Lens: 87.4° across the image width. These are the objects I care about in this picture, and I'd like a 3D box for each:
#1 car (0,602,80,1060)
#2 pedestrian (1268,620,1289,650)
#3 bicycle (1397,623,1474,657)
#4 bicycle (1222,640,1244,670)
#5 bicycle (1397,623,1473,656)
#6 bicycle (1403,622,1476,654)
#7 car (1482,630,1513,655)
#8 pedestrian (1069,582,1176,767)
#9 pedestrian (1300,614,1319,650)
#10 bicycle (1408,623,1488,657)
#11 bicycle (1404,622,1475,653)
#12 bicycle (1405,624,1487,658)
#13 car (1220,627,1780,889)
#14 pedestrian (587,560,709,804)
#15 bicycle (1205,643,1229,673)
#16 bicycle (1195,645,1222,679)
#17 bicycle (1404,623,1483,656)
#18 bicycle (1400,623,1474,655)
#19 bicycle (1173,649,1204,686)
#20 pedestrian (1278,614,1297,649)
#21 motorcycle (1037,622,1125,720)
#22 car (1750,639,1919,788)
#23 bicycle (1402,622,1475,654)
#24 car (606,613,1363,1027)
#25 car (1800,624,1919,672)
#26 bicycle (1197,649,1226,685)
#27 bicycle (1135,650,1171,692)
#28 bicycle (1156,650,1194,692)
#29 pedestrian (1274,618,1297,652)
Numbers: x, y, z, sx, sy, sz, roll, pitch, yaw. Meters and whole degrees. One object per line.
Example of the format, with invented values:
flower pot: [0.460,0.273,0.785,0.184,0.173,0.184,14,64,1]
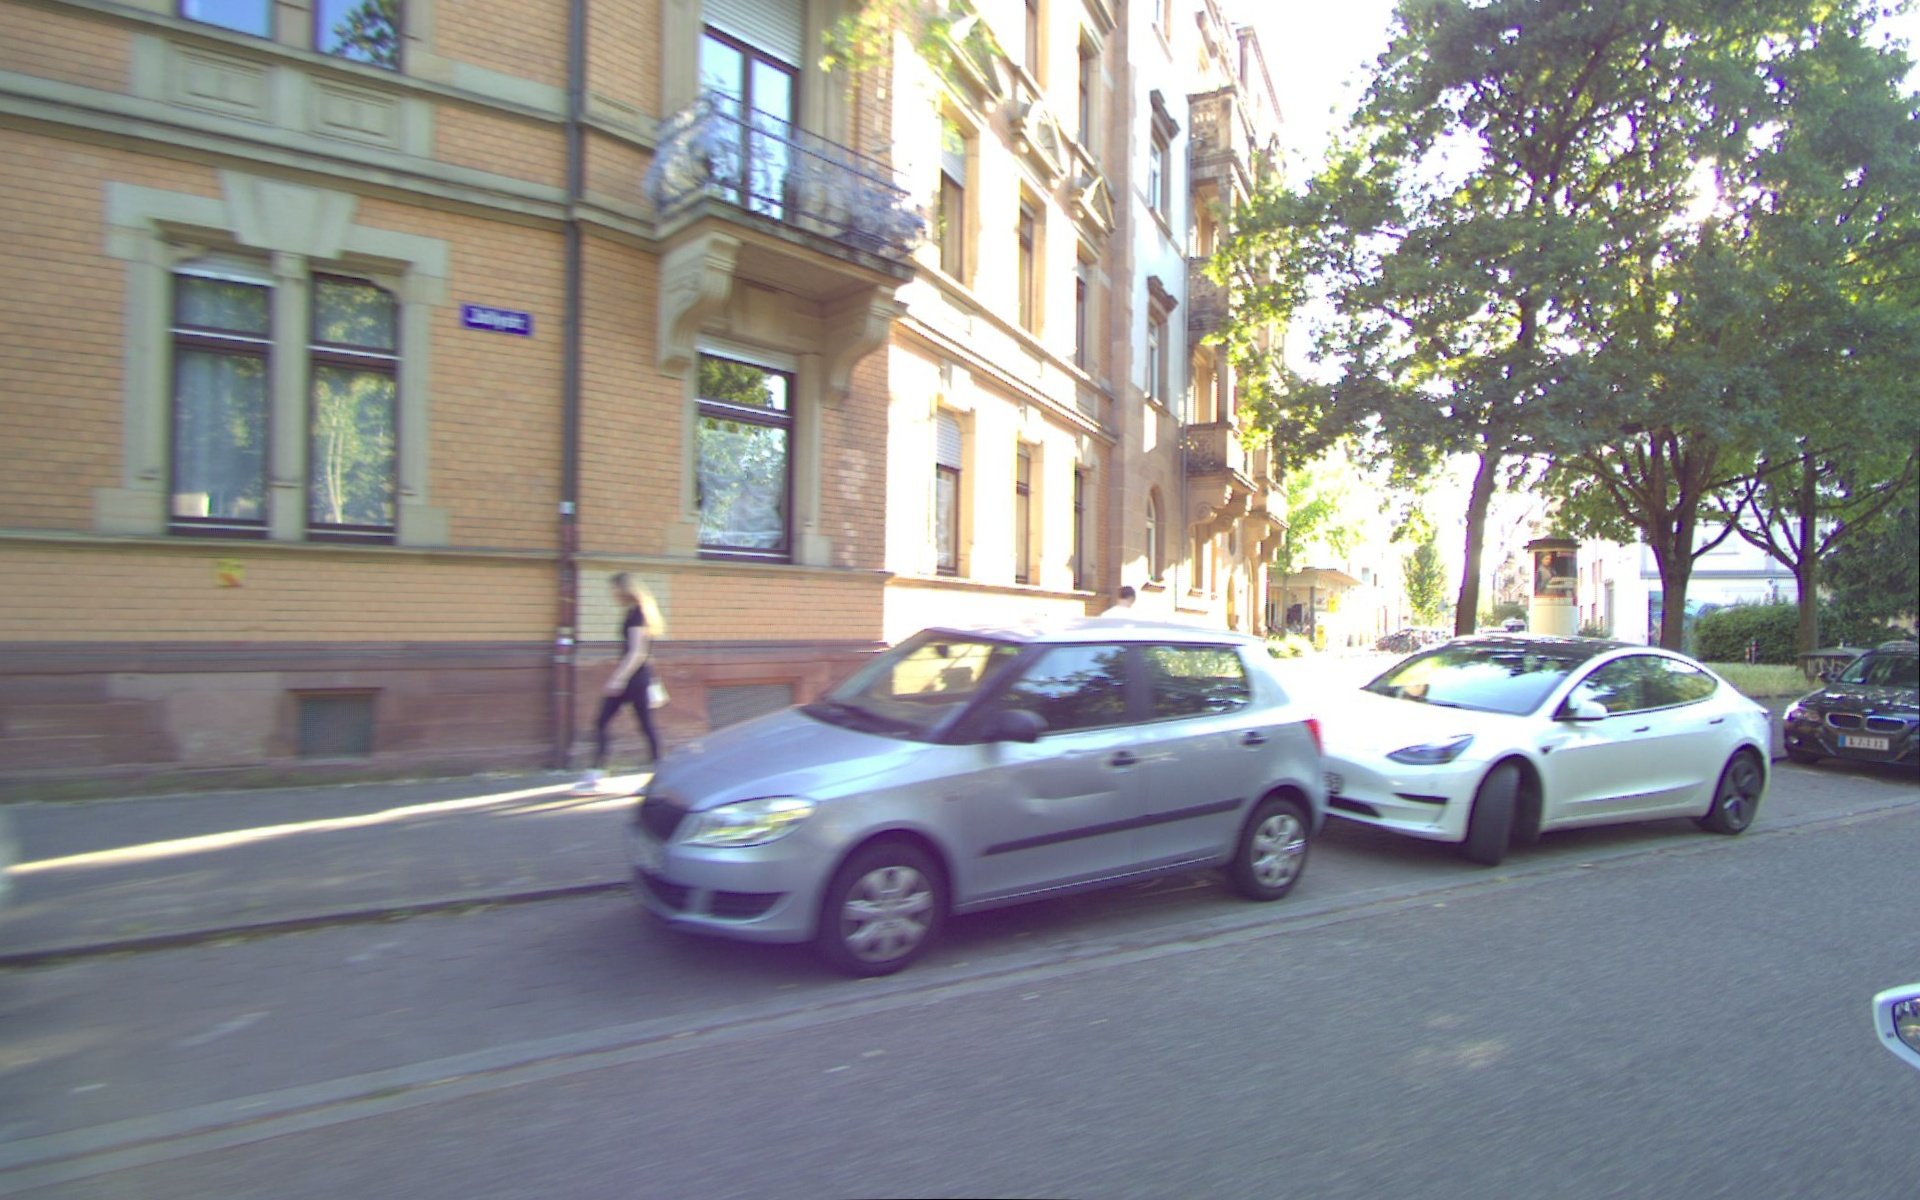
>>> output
car: [-4.767,0.745,2.433,3.664,1.495,1.676,1,1,-30]
pedestrian: [16.807,1.843,52.982,0.875,1.590,0.963,0,-1,27]
bicycle: [23.273,1.938,49.188,3.318,1.464,0.880,2,0,29]
bicycle: [7.519,1.498,27.673,0.362,0.742,1.509,0,0,24]
bicycle: [23.662,1.941,50.066,3.318,1.464,0.880,2,0,29]
bicycle: [25.022,1.958,52.445,3.318,1.464,0.880,2,0,29]
car: [39.704,3.096,74.300,1.963,1.808,3.995,-1,-2,28]
pedestrian: [1.635,0.706,10.051,0.665,1.741,0.908,2,1,38]
pedestrian: [18.636,1.717,53.545,0.836,1.899,0.890,0,-1,26]
bicycle: [22.824,1.866,47.000,3.319,1.464,0.880,1,-1,29]
bicycle: [25.419,1.959,53.312,3.318,1.464,0.880,2,0,29]
bicycle: [22.145,1.859,45.842,3.319,1.464,0.880,1,-1,29]
car: [4.237,1.000,7.776,4.217,1.495,1.769,1,1,-28]
pedestrian: [-2.370,0.585,7.616,0.714,1.741,0.670,1,1,-32]
bicycle: [6.684,1.491,26.113,0.362,0.742,1.509,0,-1,24]
bicycle: [5.933,1.469,23.948,0.362,0.742,1.509,0,-1,24]
bicycle: [23.128,1.895,48.069,3.319,1.464,0.880,1,-1,29]
bicycle: [24.104,1.947,50.810,3.318,1.464,0.880,2,0,29]
bicycle: [4.981,1.455,21.858,0.362,0.742,1.509,0,-1,24]
pedestrian: [17.601,1.690,53.931,0.836,1.899,0.890,0,-1,26]
motorcycle: [1.861,1.020,15.194,0.795,1.371,1.897,0,-1,25]
car: [11.511,1.238,11.946,4.217,1.453,1.769,1,1,-28]
bicycle: [24.563,1.952,51.610,3.318,1.464,0.880,2,0,29]
car: [0.244,0.858,5.480,3.839,1.495,1.674,1,1,-32]
car: [29.984,1.511,32.219,1.898,1.470,4.267,0,-1,-27]
bicycle: [5.605,1.470,22.315,0.362,0.742,1.509,0,-1,24]
bicycle: [3.780,1.365,19.598,0.362,0.742,1.509,0,-1,24]
bicycle: [4.185,1.371,19.518,0.407,0.742,1.509,0,-1,24]
pedestrian: [16.750,1.801,51.708,0.946,1.688,1.214,0,-1,27]
